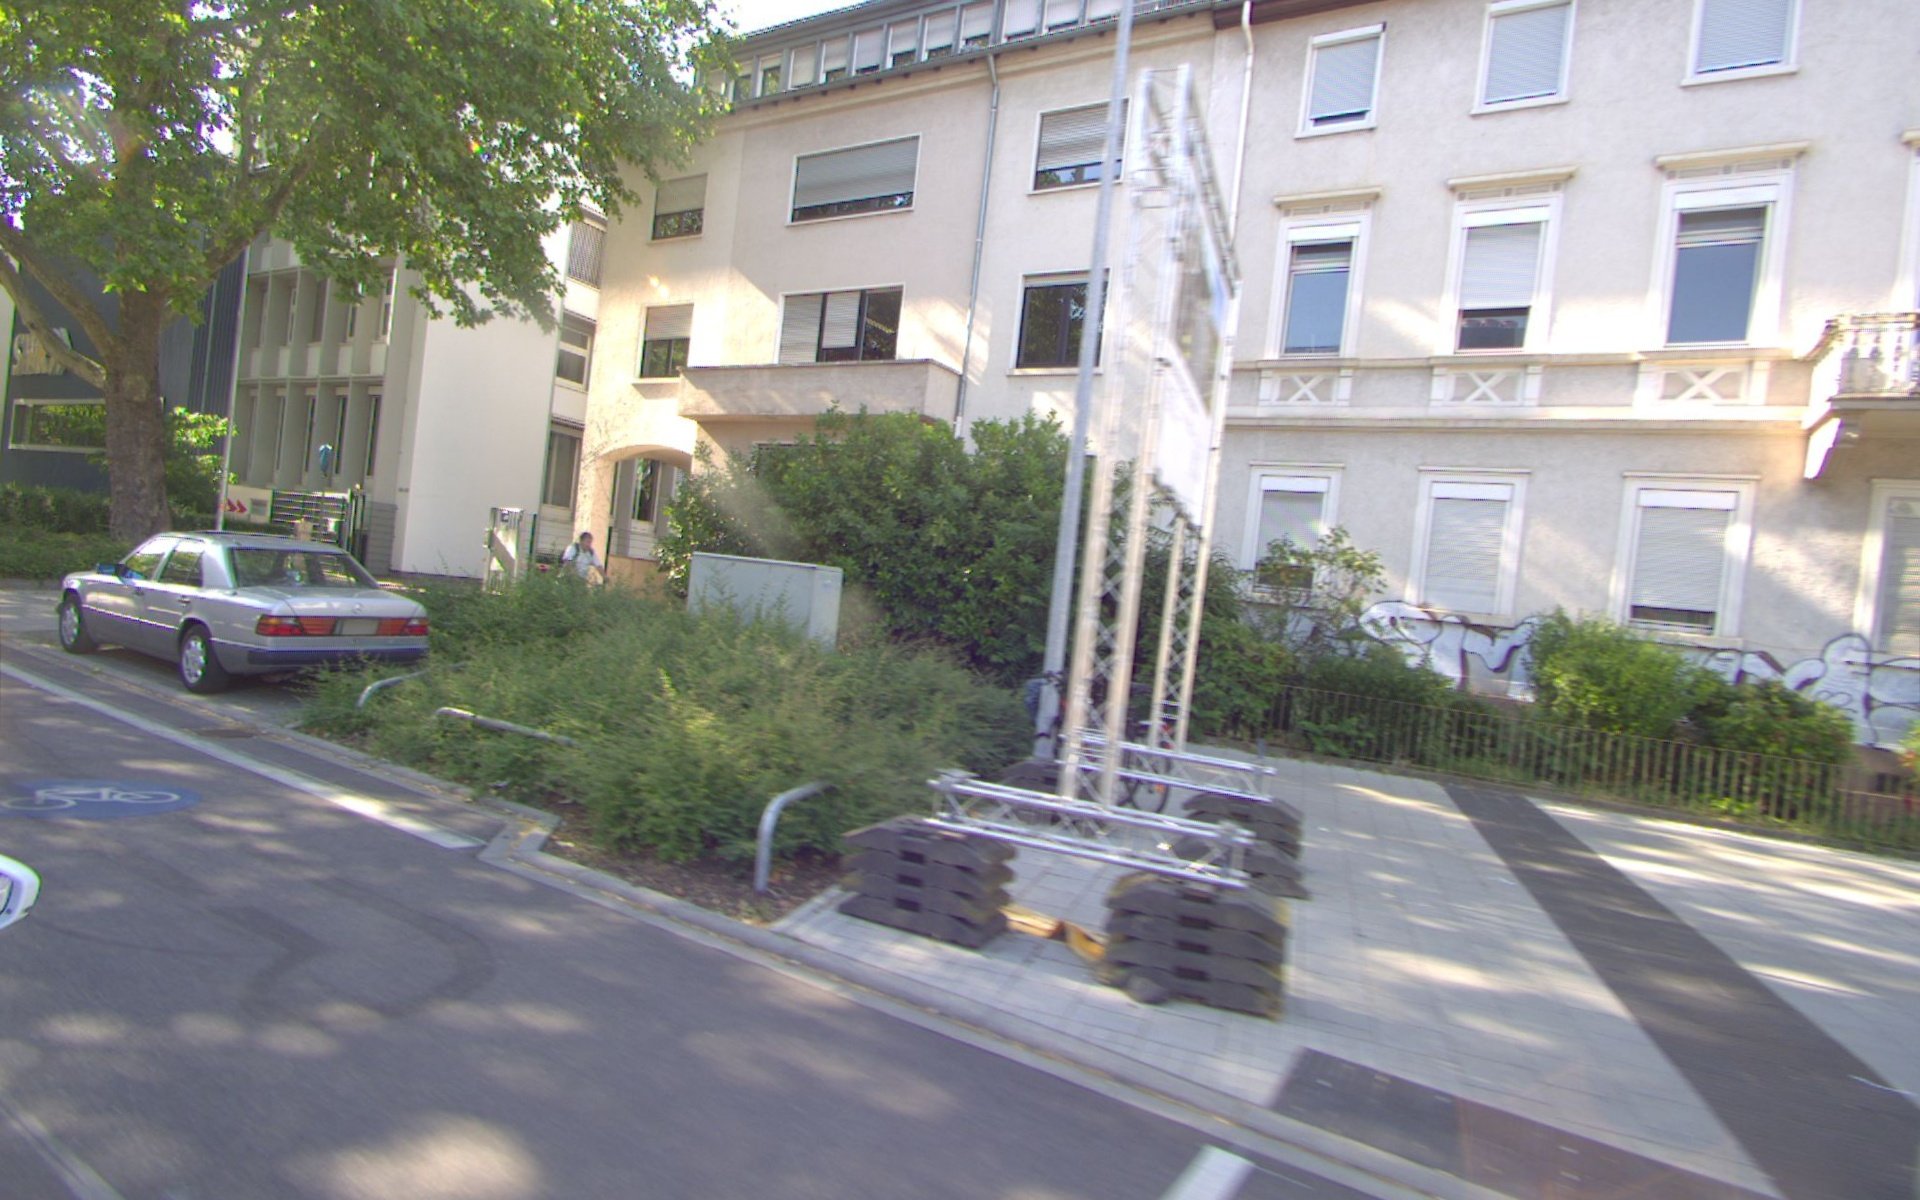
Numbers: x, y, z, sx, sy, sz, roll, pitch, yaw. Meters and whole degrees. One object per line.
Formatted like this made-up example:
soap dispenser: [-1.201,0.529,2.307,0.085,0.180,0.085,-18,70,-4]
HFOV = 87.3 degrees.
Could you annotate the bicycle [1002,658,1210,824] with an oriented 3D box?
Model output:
bicycle: [1.129,1.107,8.392,0.581,1.017,2.120,7,-1,-24]

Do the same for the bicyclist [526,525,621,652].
bicyclist: [-6.080,-0.176,15.833,1.053,1.843,0.724,7,0,32]

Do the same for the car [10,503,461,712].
car: [-7.586,0.020,10.408,4.858,1.497,1.855,7,-1,30]
